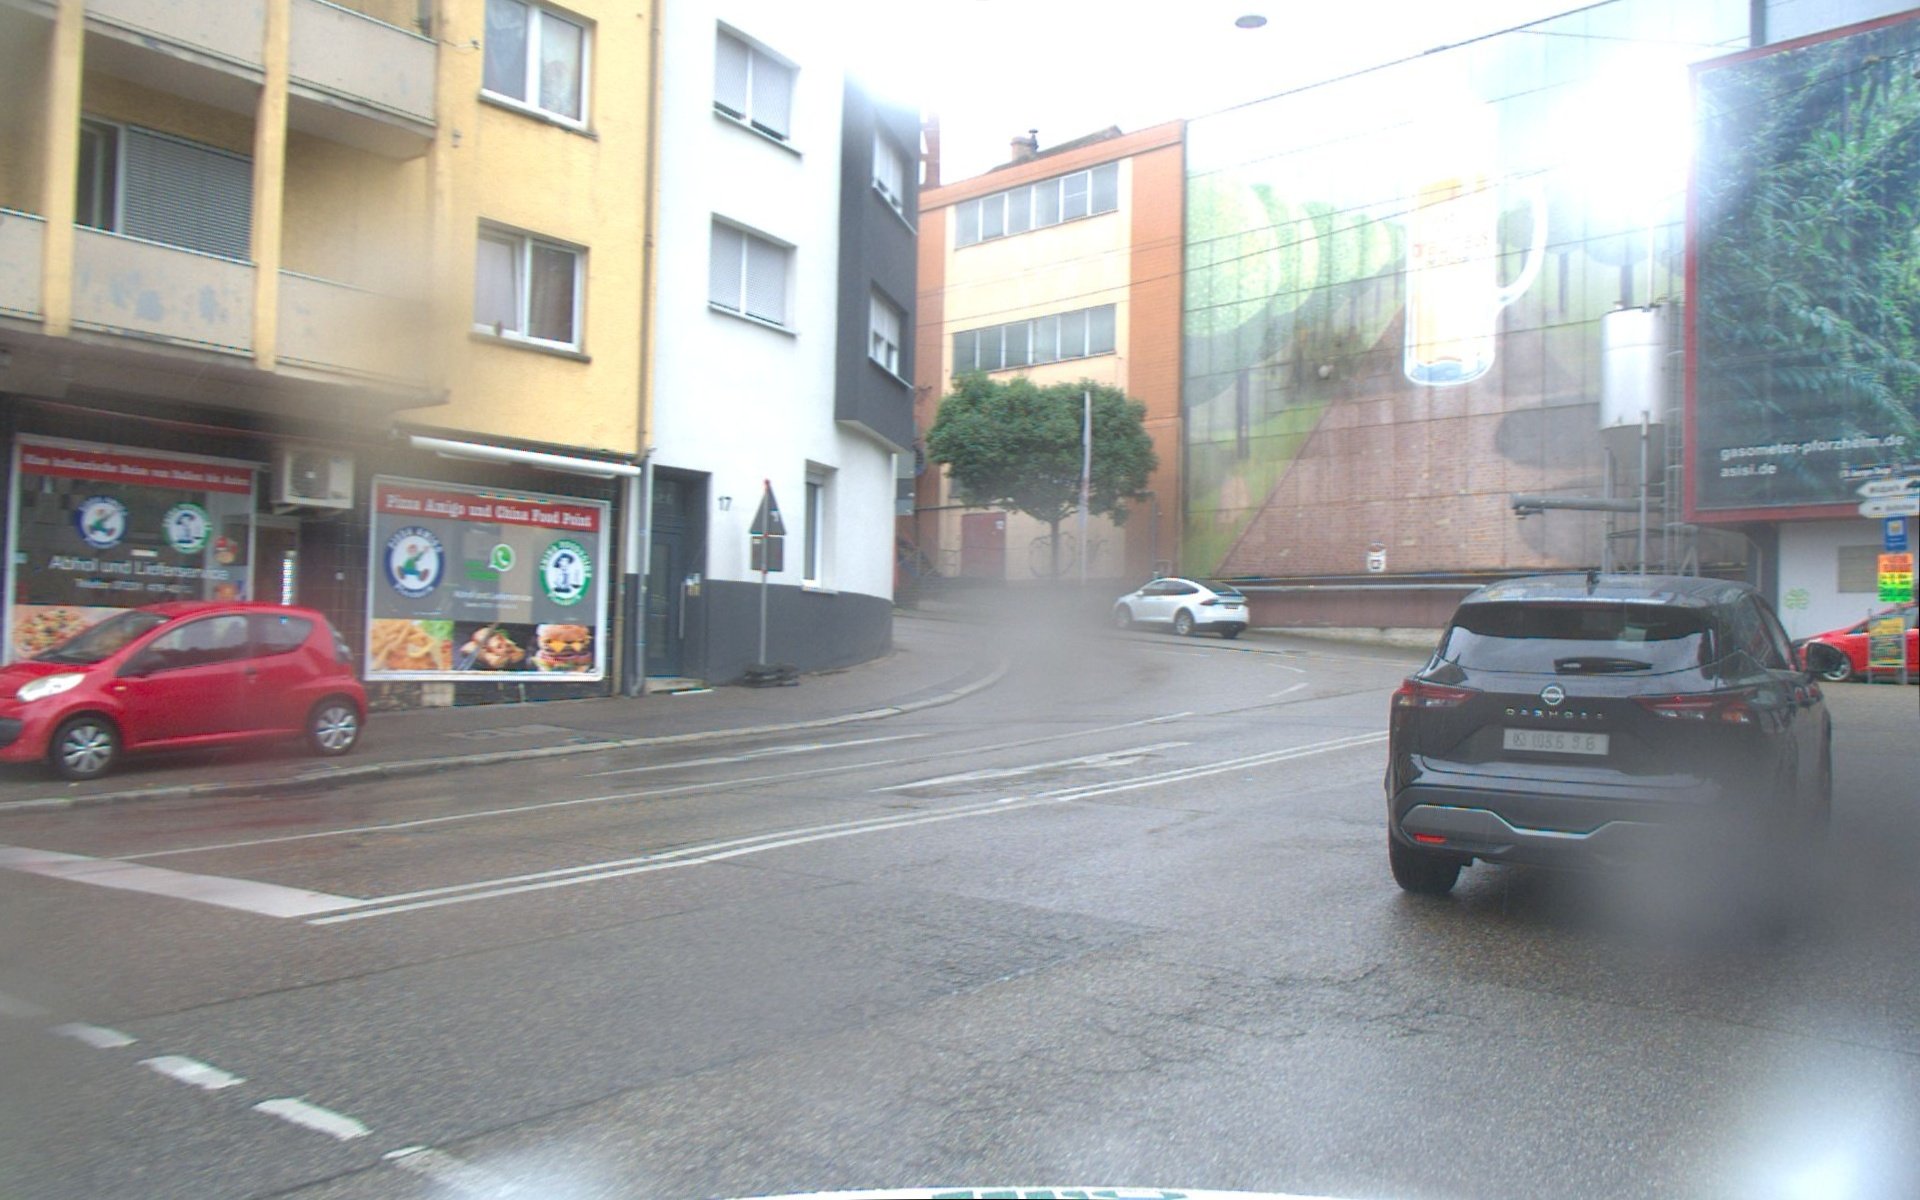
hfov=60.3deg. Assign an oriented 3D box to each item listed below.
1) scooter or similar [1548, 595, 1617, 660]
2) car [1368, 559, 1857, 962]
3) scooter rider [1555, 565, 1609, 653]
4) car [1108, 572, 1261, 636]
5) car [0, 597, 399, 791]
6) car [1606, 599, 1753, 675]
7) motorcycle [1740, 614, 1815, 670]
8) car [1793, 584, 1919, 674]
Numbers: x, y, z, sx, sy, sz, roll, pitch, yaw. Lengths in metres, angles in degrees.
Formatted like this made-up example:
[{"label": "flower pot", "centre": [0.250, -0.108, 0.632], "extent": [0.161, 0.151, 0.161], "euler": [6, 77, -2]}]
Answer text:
[{"label": "scooter or similar", "centre": [13.379, 0.579, 35.574], "extent": [0.787, 1.346, 1.405], "euler": [-1, 0, -9]}, {"label": "car", "centre": [3.666, 0.639, 8.838], "extent": [1.846, 1.621, 3.913], "euler": [1, 0, 30]}, {"label": "scooter rider", "centre": [13.377, 0.190, 35.572], "extent": [0.787, 1.853, 0.780], "euler": [-1, 0, -10]}, {"label": "car", "centre": [6.721, 0.088, 50.055], "extent": [1.835, 1.645, 4.862], "euler": [2, 2, -32]}, {"label": "car", "centre": [-7.245, 0.770, 15.459], "extent": [1.584, 1.489, 3.517], "euler": [2, 2, 39]}, {"label": "car", "centre": [16.524, 0.800, 37.911], "extent": [1.843, 1.559, 3.965], "euler": [0, 1, 44]}, {"label": "motorcycle", "centre": [17.582, 0.895, 35.562], "extent": [1.394, 1.181, 0.450], "euler": [0, -2, 36]}, {"label": "car", "centre": [19.175, 0.583, 32.775], "extent": [1.916, 1.741, 4.423], "euler": [1, -1, -42]}]
